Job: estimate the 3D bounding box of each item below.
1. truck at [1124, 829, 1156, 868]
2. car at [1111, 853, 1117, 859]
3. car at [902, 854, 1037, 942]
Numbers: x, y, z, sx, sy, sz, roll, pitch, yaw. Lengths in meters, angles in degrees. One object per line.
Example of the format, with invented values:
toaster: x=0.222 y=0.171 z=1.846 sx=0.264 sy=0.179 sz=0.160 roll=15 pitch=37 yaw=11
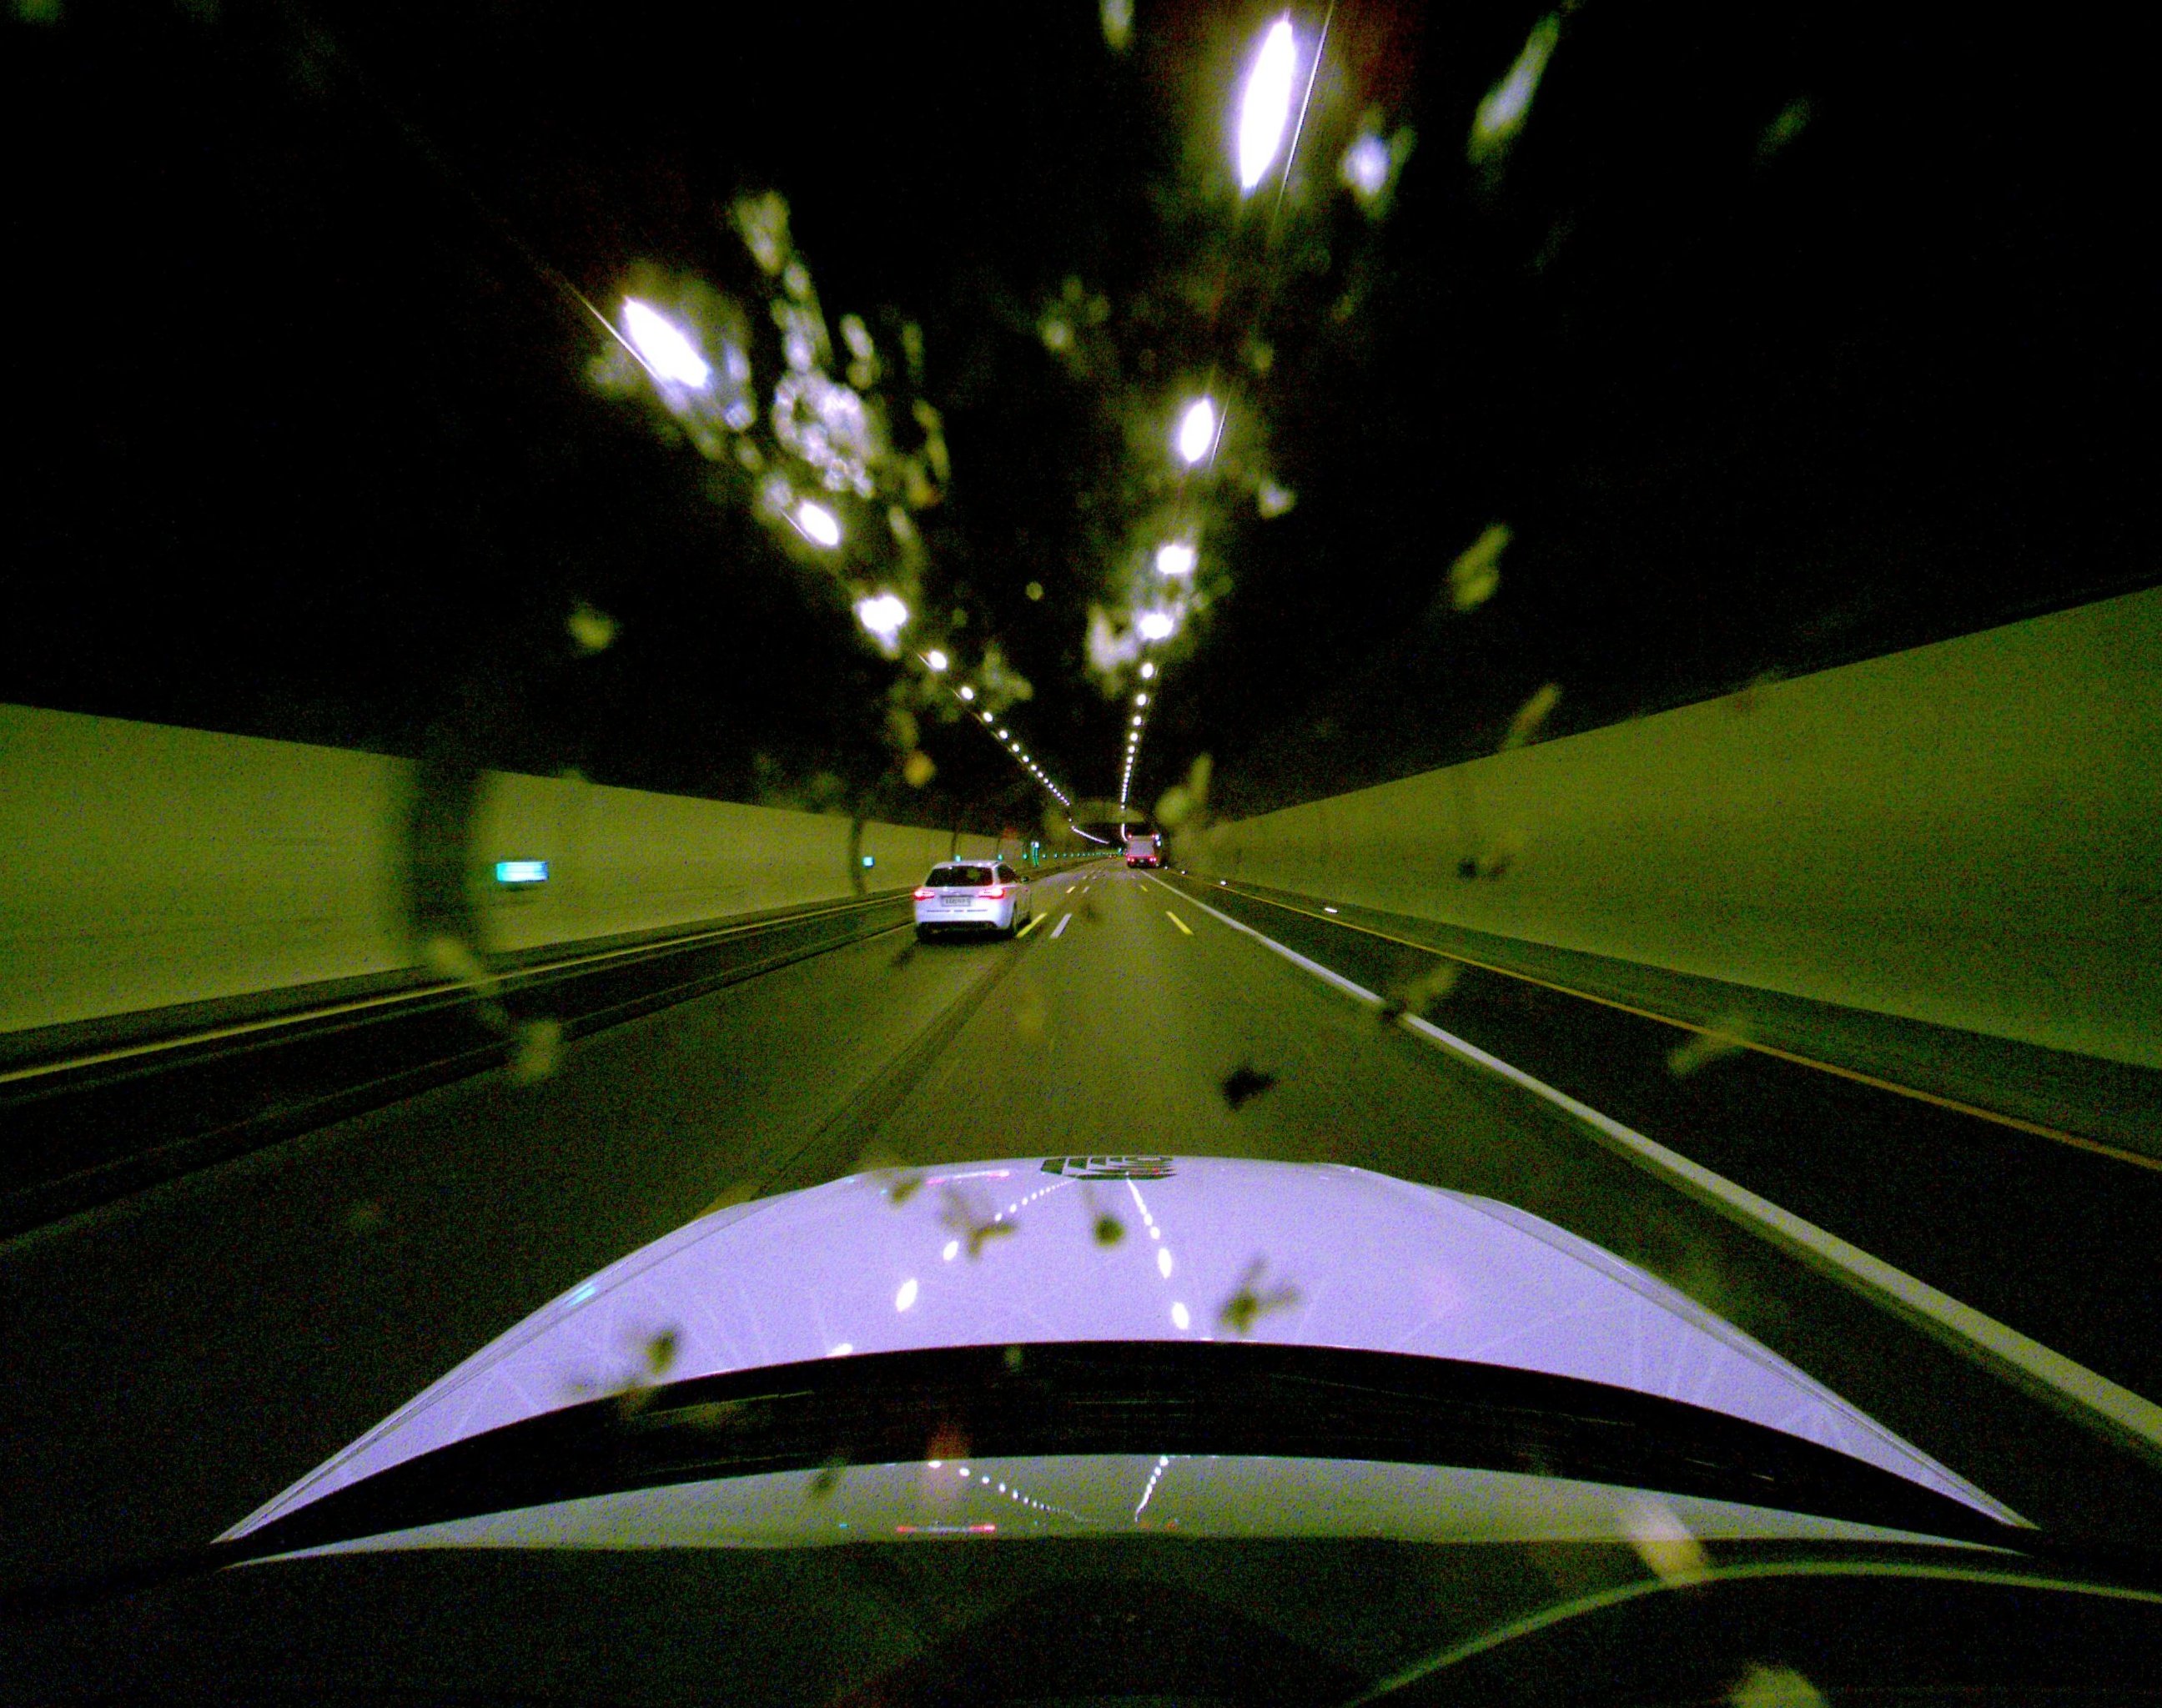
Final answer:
truck: x=6.341 y=-0.531 z=88.795 sx=3.079 sy=3.918 sz=10.373 roll=-2 pitch=-1 yaw=2
car: x=9.659 y=0.602 z=239.133 sx=1.752 sy=1.461 sz=4.121 roll=-2 pitch=1 yaw=3
car: x=-2.022 y=0.761 z=16.314 sx=1.896 sy=1.485 sz=4.945 roll=0 pitch=0 yaw=1
